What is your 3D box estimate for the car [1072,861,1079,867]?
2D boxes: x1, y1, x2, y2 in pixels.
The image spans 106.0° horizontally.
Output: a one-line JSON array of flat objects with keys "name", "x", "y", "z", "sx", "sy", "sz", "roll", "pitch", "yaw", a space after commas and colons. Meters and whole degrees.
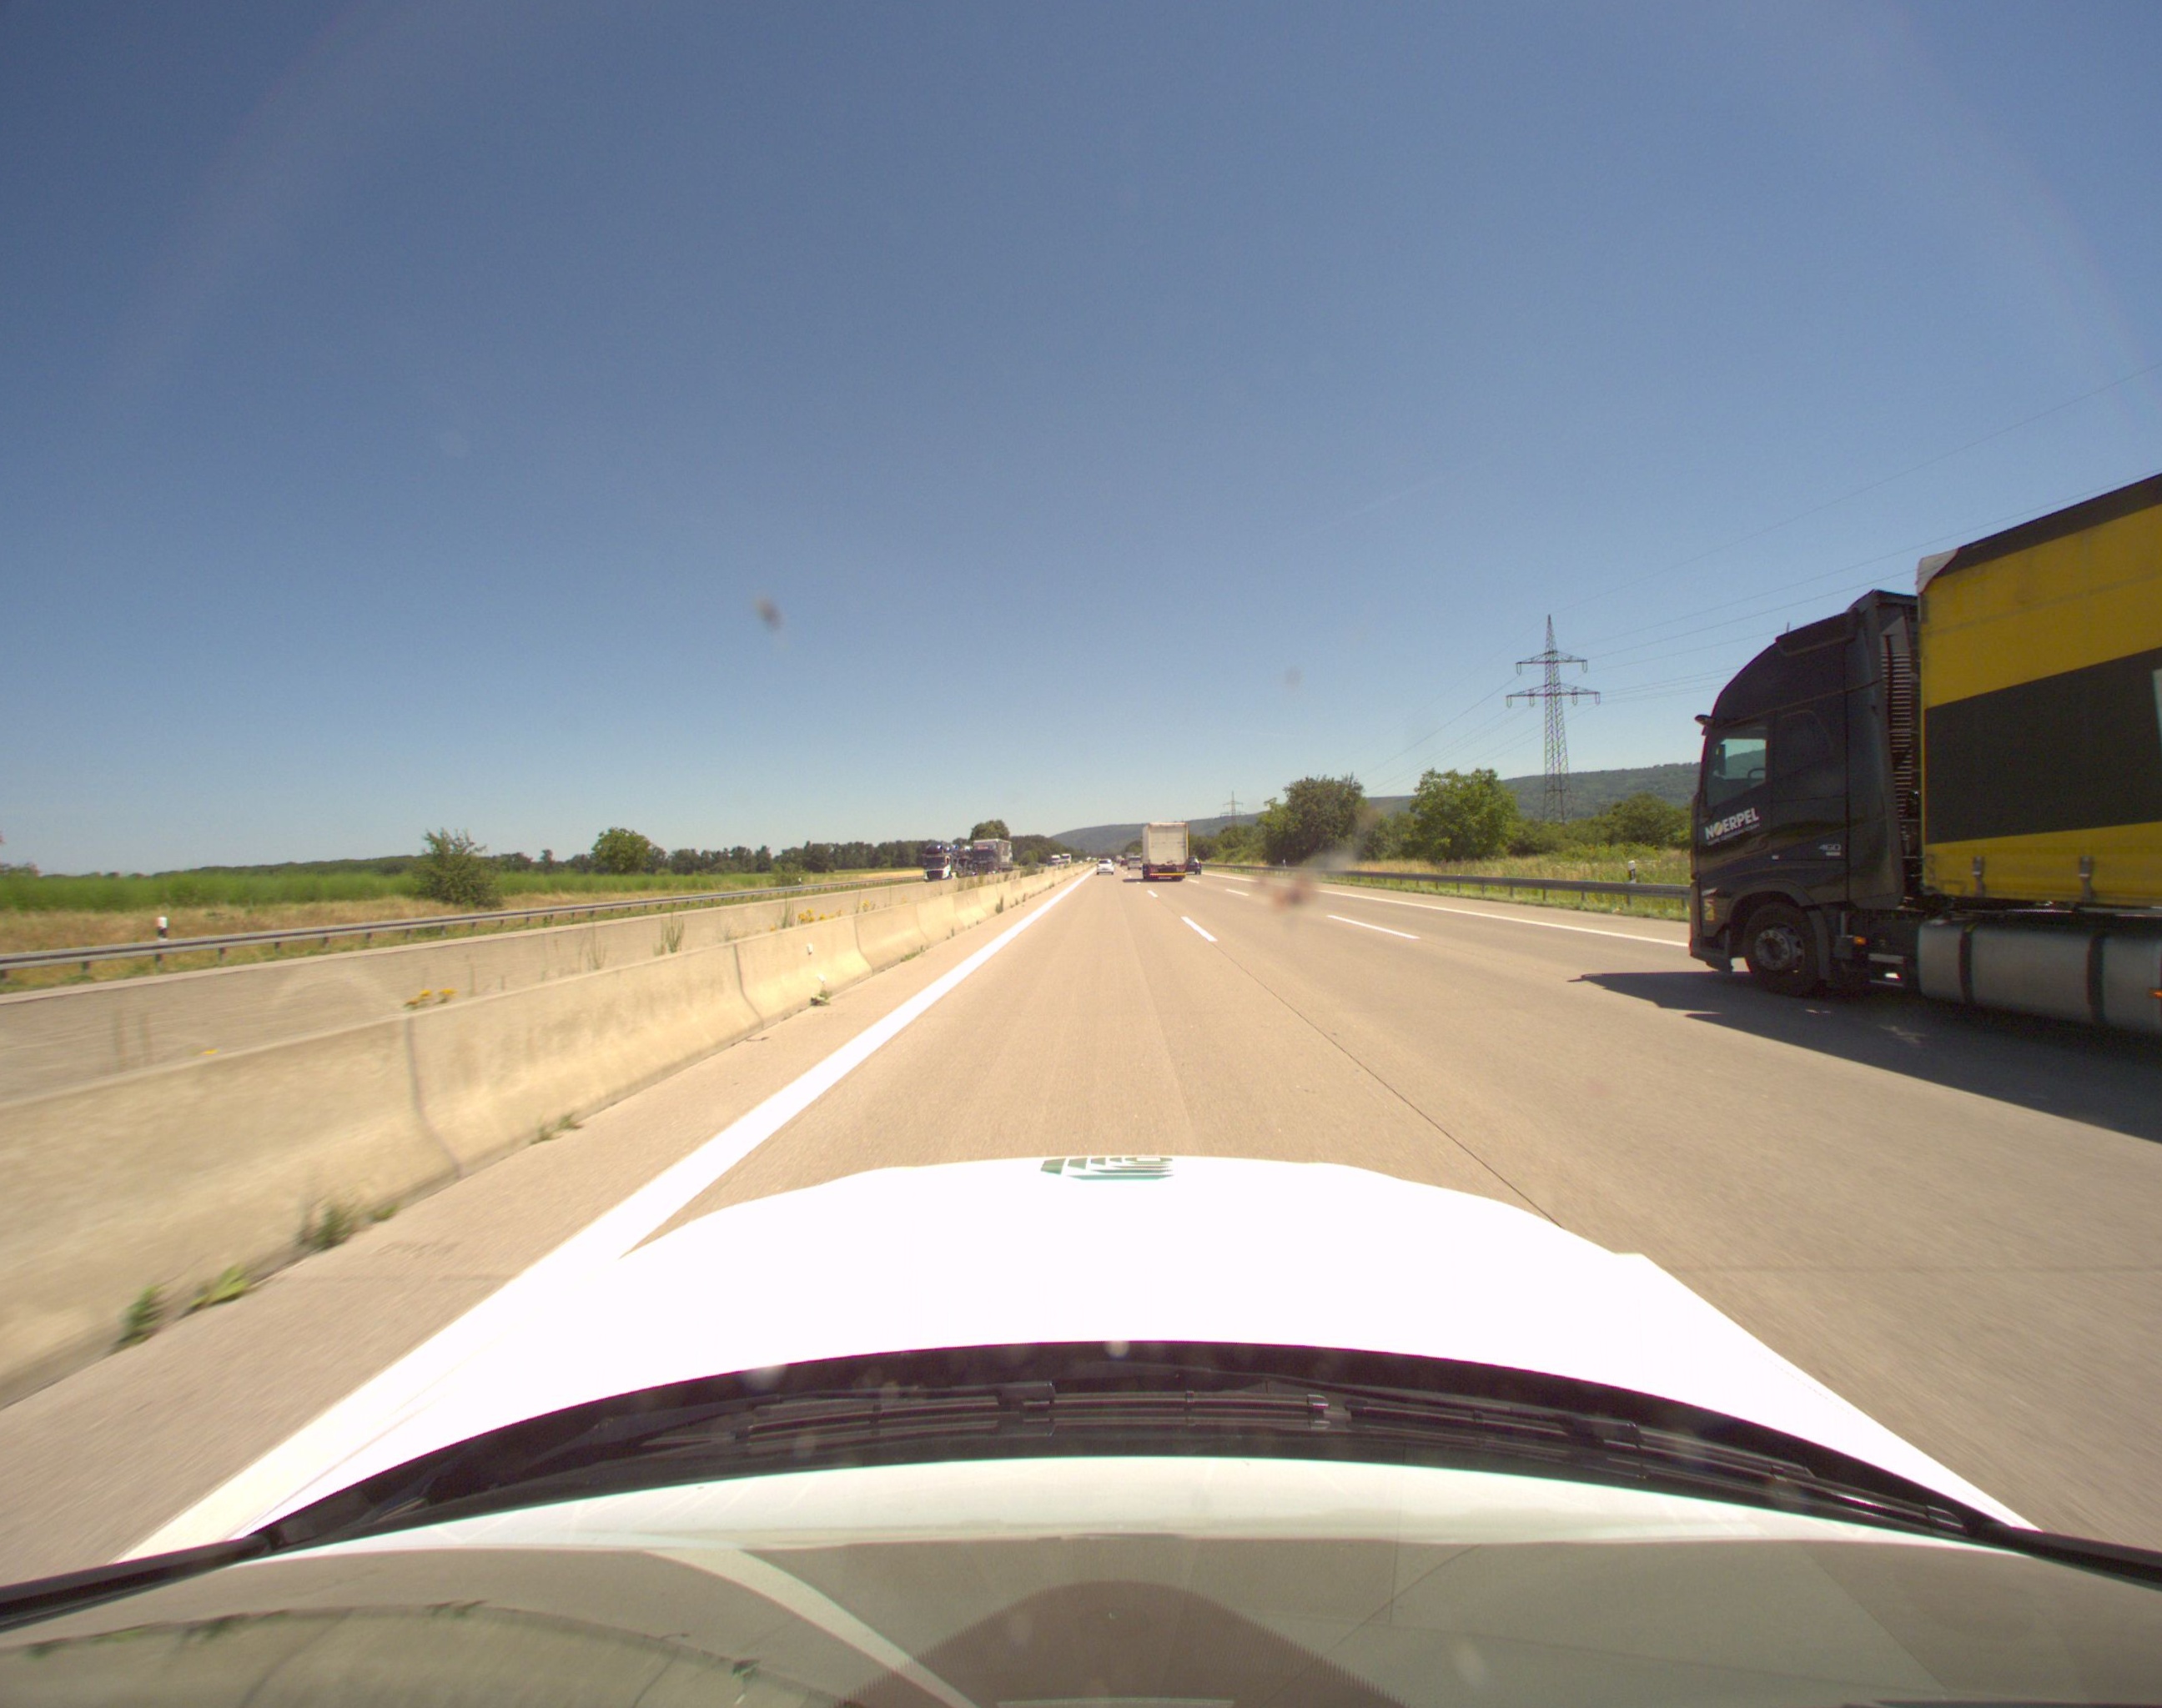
[{"name": "car", "x": -1.486, "y": 2.811, "z": 229.513, "sx": 1.856, "sy": 1.729, "sz": 4.143, "roll": 0, "pitch": -1, "yaw": 3}]

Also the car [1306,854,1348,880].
[{"name": "car", "x": 18.530, "y": 0.976, "z": 61.520, "sx": 1.986, "sy": 1.849, "sz": 4.001, "roll": 1, "pitch": 0, "yaw": 1}]

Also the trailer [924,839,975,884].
[{"name": "trailer", "x": -14.349, "y": 0.788, "z": 89.888, "sx": 3.219, "sy": 4.607, "sz": 12.297, "roll": 0, "pitch": -1, "yaw": 2}]

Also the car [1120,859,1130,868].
[{"name": "car", "x": 9.157, "y": 1.884, "z": 168.193, "sx": 1.986, "sy": 1.849, "sz": 4.002, "roll": 1, "pitch": 0, "yaw": 2}]

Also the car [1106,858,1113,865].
[{"name": "car", "x": 7.844, "y": 2.190, "z": 226.427, "sx": 1.986, "sy": 1.849, "sz": 4.001, "roll": 1, "pitch": 0, "yaw": 1}]

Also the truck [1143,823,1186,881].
[{"name": "truck", "x": 5.743, "y": -0.115, "z": 56.787, "sx": 2.572, "sy": 3.878, "sz": 4.985, "roll": 0, "pitch": -1, "yaw": 1}]

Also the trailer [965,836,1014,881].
[{"name": "trailer", "x": -10.094, "y": 0.553, "z": 91.606, "sx": 3.255, "sy": 4.476, "sz": 14.456, "roll": -3, "pitch": -1, "yaw": 2}]

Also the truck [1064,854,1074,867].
[{"name": "truck", "x": -3.673, "y": 2.066, "z": 250.064, "sx": 2.890, "sy": 3.970, "sz": 5.047, "roll": 0, "pitch": -1, "yaw": 1}]

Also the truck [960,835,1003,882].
[{"name": "truck", "x": -10.213, "y": 0.494, "z": 84.282, "sx": 3.255, "sy": 4.476, "sz": 7.191, "roll": -3, "pitch": -1, "yaw": 2}]

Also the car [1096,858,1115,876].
[{"name": "car", "x": 2.426, "y": 1.293, "z": 81.566, "sx": 1.813, "sy": 1.662, "sz": 4.000, "roll": -1, "pitch": -1, "yaw": 1}]

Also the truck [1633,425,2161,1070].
[{"name": "truck", "x": 8.103, "y": -0.672, "z": 7.716, "sx": 1.986, "sy": 4.193, "sz": 5.708, "roll": 0, "pitch": -1, "yaw": 2}]

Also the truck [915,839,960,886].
[{"name": "truck", "x": -14.561, "y": 0.830, "z": 83.048, "sx": 3.219, "sy": 4.607, "sz": 6.252, "roll": 0, "pitch": -1, "yaw": 2}]

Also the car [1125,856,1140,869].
[{"name": "car", "x": 7.197, "y": 1.194, "z": 114.588, "sx": 1.986, "sy": 1.849, "sz": 4.001, "roll": 0, "pitch": -1, "yaw": 1}]

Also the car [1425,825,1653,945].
[{"name": "car", "x": 8.118, "y": 0.507, "z": 14.927, "sx": 1.986, "sy": 1.849, "sz": 4.001, "roll": 1, "pitch": 0, "yaw": 1}]

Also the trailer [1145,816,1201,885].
[{"name": "trailer", "x": 5.621, "y": -0.158, "z": 51.525, "sx": 2.572, "sy": 3.878, "sz": 10.374, "roll": 0, "pitch": -1, "yaw": 1}]

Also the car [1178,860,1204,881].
[{"name": "car", "x": 10.231, "y": 1.474, "z": 75.910, "sx": 1.986, "sy": 1.849, "sz": 4.001, "roll": 1, "pitch": 0, "yaw": 1}]
